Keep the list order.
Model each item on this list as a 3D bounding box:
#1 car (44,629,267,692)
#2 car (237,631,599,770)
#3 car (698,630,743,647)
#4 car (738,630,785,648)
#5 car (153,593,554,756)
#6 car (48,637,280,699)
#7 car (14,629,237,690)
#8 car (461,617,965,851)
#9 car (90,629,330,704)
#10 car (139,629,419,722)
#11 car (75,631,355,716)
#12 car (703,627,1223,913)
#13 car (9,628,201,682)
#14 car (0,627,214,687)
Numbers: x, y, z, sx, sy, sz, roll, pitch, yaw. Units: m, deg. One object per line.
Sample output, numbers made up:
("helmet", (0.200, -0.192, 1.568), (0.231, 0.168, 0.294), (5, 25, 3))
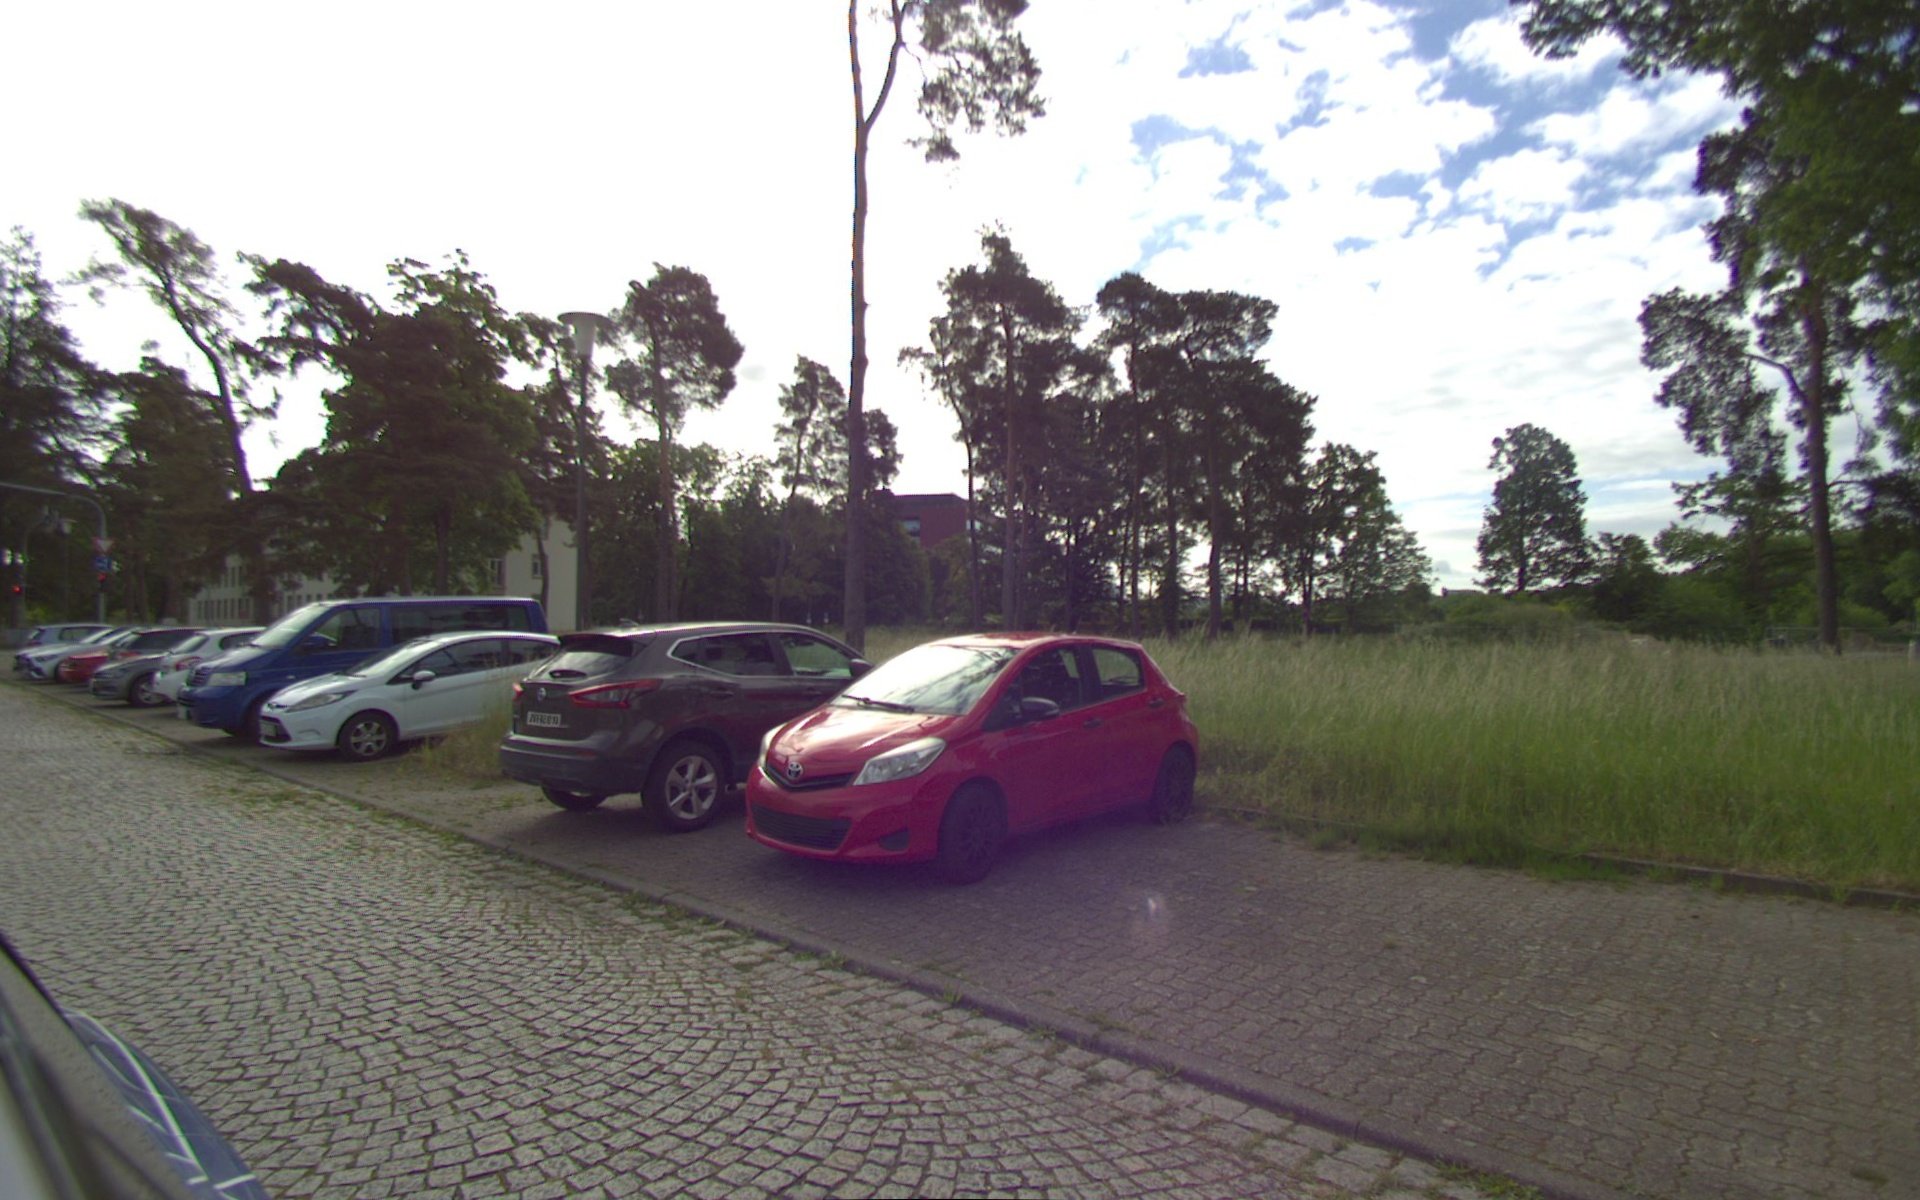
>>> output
("car", (-20.456, 1.486, 25.874), (1.854, 1.466, 4.209), (-2, -2, 41))
("car", (-6.841, 1.163, 13.087), (1.724, 1.505, 3.756), (-2, -2, 39))
("car", (-23.288, 3.742, 98.418), (1.718, 1.622, 3.998), (0, -1, 45))
("car", (-18.211, 3.563, 92.979), (1.717, 1.622, 4.000), (1, -1, 43))
("car", (-8.689, 0.975, 14.873), (2.037, 1.996, 4.661), (-2, -2, 40))
("car", (-18.842, 1.552, 24.097), (1.763, 1.293, 4.087), (-2, -2, 41))
("car", (-22.333, 1.532, 27.232), (1.949, 1.466, 4.389), (-1, -1, 42))
("car", (-1.984, 0.968, 9.068), (1.953, 1.587, 4.026), (-2, -2, 40))
("car", (-16.613, 1.403, 22.579), (1.755, 1.492, 4.044), (-2, -2, 42))
("car", (-12.430, 1.293, 18.635), (1.843, 1.513, 3.961), (-2, -2, 43))
("car", (-14.793, 1.378, 20.282), (1.731, 1.492, 4.257), (-2, -2, 43))
("car", (0.233, 0.955, 7.370), (1.760, 1.497, 3.776), (-2, -2, 41))
("car", (-26.098, 1.622, 30.994), (1.827, 1.481, 4.282), (-1, -1, 42))
("car", (-24.362, 1.550, 28.990), (1.868, 1.549, 4.458), (-1, -1, 38))
